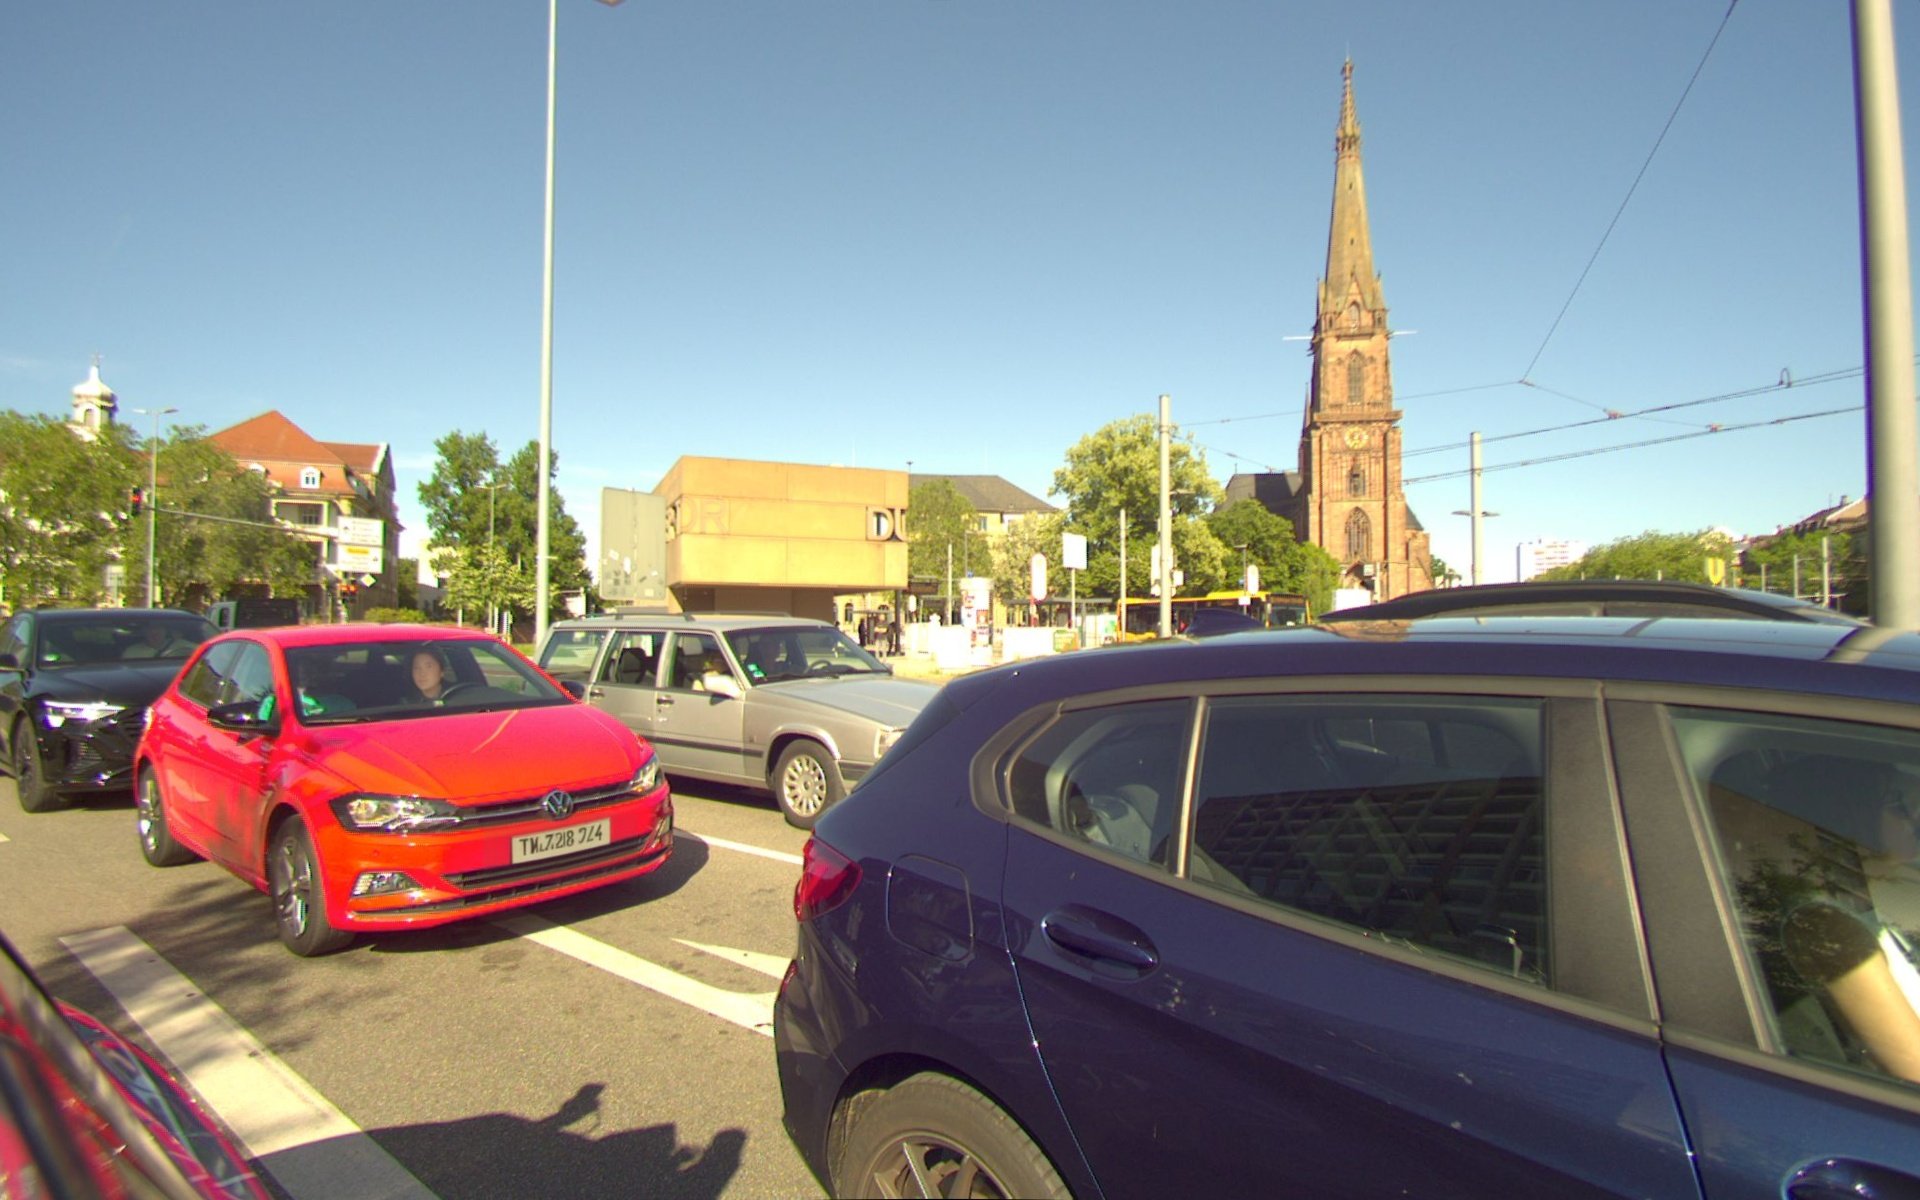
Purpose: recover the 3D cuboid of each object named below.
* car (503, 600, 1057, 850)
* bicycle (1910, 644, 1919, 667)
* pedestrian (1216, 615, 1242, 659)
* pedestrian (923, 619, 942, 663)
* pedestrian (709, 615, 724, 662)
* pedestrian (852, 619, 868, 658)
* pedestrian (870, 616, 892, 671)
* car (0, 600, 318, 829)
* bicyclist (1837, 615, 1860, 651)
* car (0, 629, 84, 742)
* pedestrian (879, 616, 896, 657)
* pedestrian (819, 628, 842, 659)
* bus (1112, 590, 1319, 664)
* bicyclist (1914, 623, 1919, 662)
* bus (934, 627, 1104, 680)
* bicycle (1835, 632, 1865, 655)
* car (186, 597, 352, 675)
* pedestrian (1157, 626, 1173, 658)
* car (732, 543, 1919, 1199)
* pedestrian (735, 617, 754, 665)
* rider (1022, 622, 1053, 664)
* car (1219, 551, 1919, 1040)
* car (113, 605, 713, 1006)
[{"bbox_3d":[-1.681,0.817,8.205,4.746,1.484,1.692,-2,-1,38],"label":"car"},{"bbox_3d":[37.193,2.135,38.791,0.675,0.885,1.879,-1,-2,29],"label":"bicycle"},{"bbox_3d":[11.553,1.598,43.447,0.882,1.869,0.679,-2,-3,41],"label":"pedestrian"},{"bbox_3d":[-1.123,1.663,41.111,0.634,1.789,0.470,1,-2,-29],"label":"pedestrian"},{"bbox_3d":[-9.275,1.468,38.526,0.460,1.789,0.648,0,-2,-21],"label":"pedestrian"},{"bbox_3d":[-4.591,1.762,46.433,0.468,1.789,0.638,-2,-2,36],"label":"pedestrian"},{"bbox_3d":[-2.627,1.438,33.819,0.658,1.802,0.646,-1,-1,0],"label":"pedestrian"},{"bbox_3d":[-7.826,0.883,9.313,4.446,1.628,1.836,-1,-2,38],"label":"car"},{"bbox_3d":[43.290,1.607,49.336,0.675,1.725,0.612,-1,-2,29],"label":"bicyclist"},{"bbox_3d":[-13.659,1.121,13.916,3.704,1.429,1.557,-1,-2,35],"label":"car"},{"bbox_3d":[-3.230,1.608,44.996,0.468,1.789,0.638,-2,-2,36],"label":"pedestrian"},{"bbox_3d":[-5.534,1.866,43.249,0.635,1.320,0.764,1,-2,-40],"label":"pedestrian"},{"bbox_3d":[11.634,1.329,48.102,2.715,3.088,12.201,1,-2,-23],"label":"bus"},{"bbox_3d":[37.200,1.632,38.817,0.675,1.466,0.777,-1,-2,29],"label":"bicyclist"},{"bbox_3d":[1.488,1.343,26.180,4.174,1.251,1.627,-1,-2,35],"label":"bus"},{"bbox_3d":[43.364,2.103,49.316,0.675,1.114,1.880,-1,-2,28],"label":"bicycle"},{"bbox_3d":[-22.650,1.165,33.094,6.191,2.331,2.095,-1,-2,31],"label":"car"},{"bbox_3d":[9.697,1.988,47.879,0.568,1.525,0.523,-1,-1,28],"label":"pedestrian"},{"bbox_3d":[1.598,0.670,1.363,4.030,1.456,1.692,-1,-1,42],"label":"car"},{"bbox_3d":[-8.136,1.527,38.183,0.635,1.789,0.618,0,-2,-8],"label":"pedestrian"},{"bbox_3d":[2.703,1.496,35.472,0.660,1.475,0.862,1,-2,-43],"label":"rider"},{"bbox_3d":[3.294,0.626,4.098,4.010,1.529,1.738,-2,-2,44],"label":"car"},{"bbox_3d":[-3.238,0.809,5.658,3.850,1.484,1.653,-2,-1,40],"label":"car"}]
